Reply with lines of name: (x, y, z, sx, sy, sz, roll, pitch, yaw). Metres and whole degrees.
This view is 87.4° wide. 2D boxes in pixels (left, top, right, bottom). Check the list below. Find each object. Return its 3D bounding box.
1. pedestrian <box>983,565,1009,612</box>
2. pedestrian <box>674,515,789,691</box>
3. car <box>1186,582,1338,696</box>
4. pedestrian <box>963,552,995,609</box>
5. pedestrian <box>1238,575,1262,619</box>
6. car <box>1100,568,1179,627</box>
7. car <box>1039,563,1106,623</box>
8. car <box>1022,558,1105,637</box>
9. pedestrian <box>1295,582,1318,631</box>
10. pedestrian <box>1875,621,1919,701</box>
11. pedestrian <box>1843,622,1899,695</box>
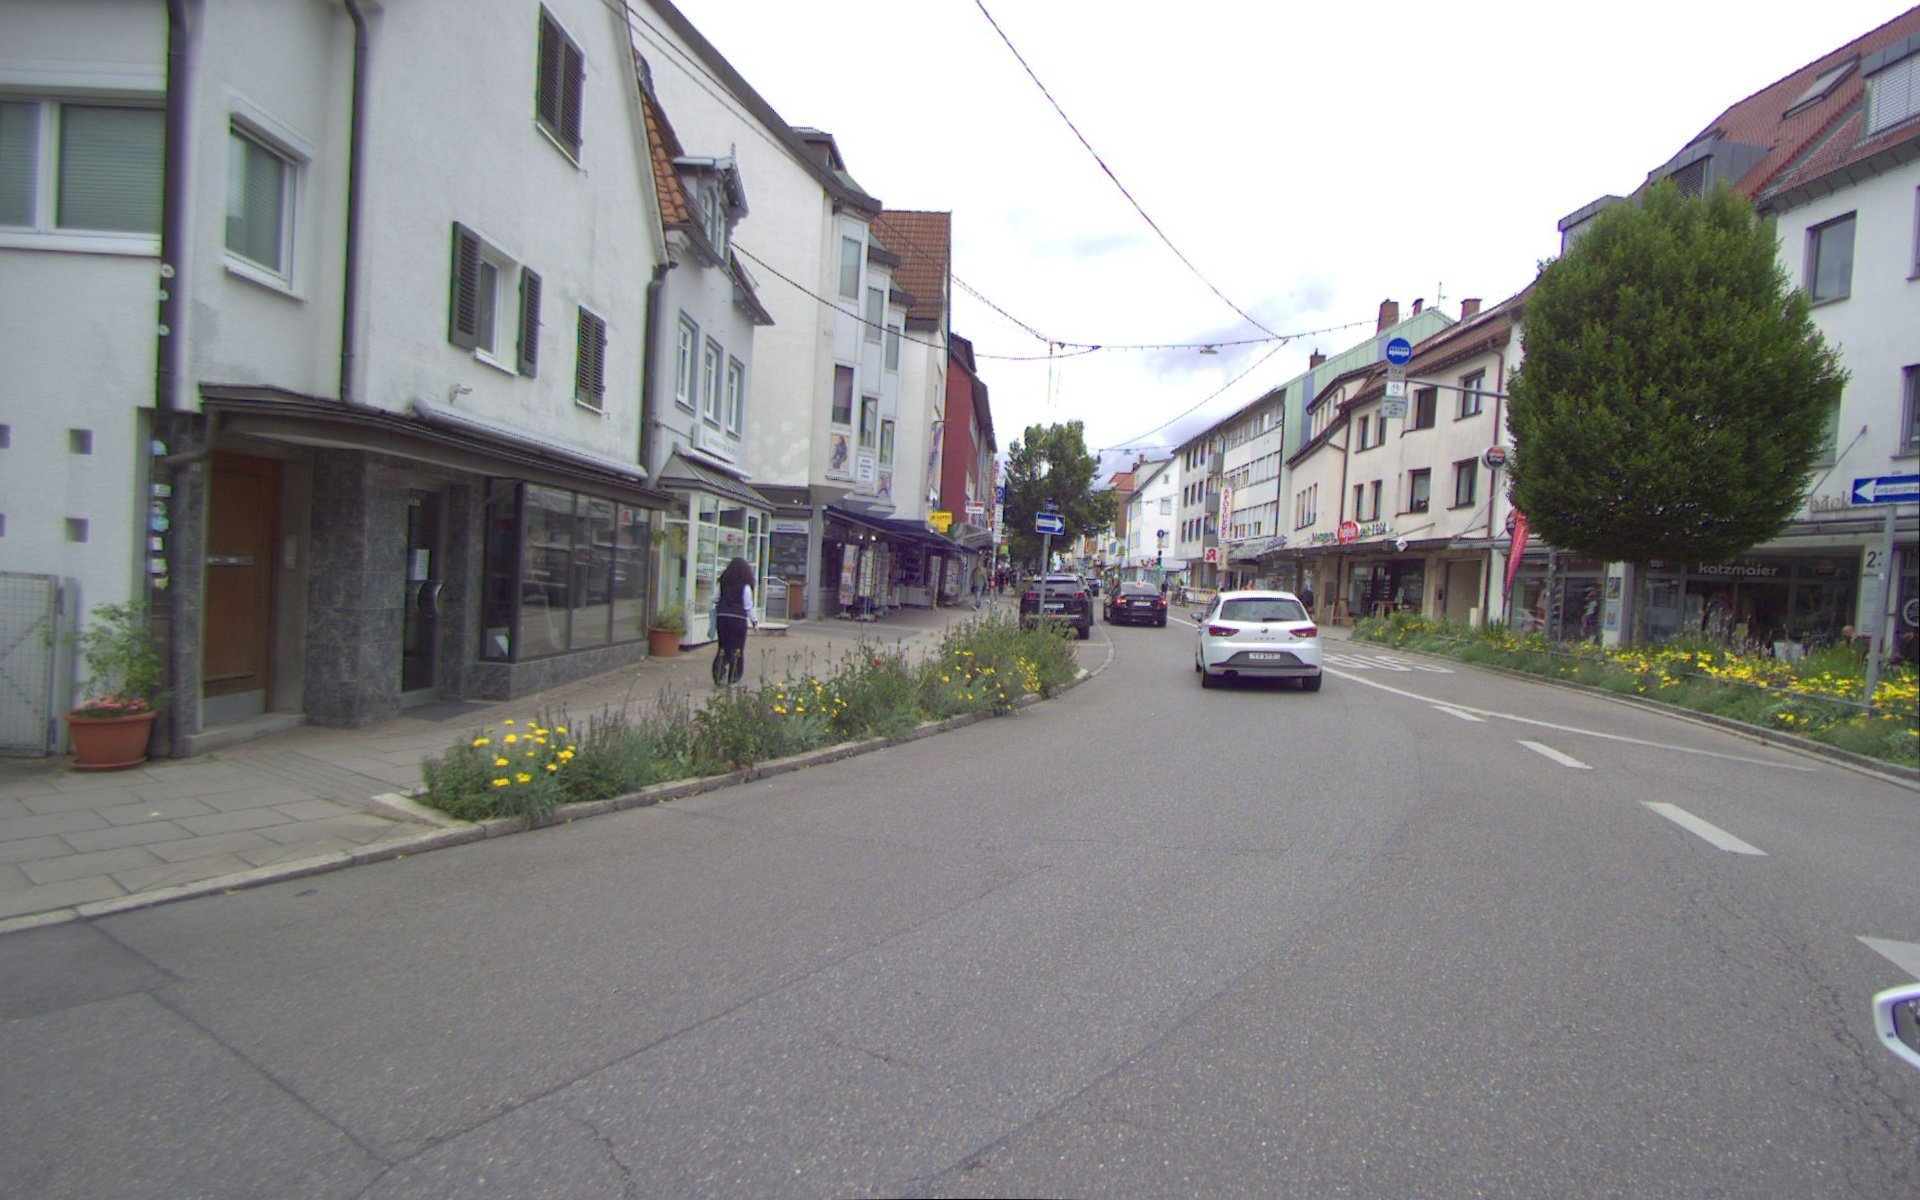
pedestrian: (1.641, -0.536, 45.978, 1.084, 2.041, 1.014, 3, 2, 2)
pedestrian: (-2.802, 0.019, 12.421, 1.084, 2.041, 1.014, 3, 2, 2)
car: (4.694, 0.512, 16.175, 1.812, 1.453, 4.001, 2, 3, 10)
pedestrian: (0.726, -0.745, 37.779, 1.084, 2.041, 1.014, 3, 2, 3)
pedestrian: (13.995, -0.163, 48.481, 1.009, 2.041, 0.896, 3, 2, 16)
car: (5.951, -0.144, 33.727, 2.001, 1.698, 4.374, 3, 3, 3)
car: (3.651, -0.248, 33.060, 1.960, 1.755, 4.429, 3, 1, 5)
car: (2.804, -0.092, 26.938, 1.960, 1.879, 4.002, 3, 1, 7)
pedestrian: (14.610, 0.258, 42.342, 0.657, 2.041, 0.635, 3, 1, 0)
pedestrian: (16.585, 1.071, 17.440, 0.750, 1.335, 0.568, 5, 2, -4)
pedestrian: (16.728, 1.066, 18.454, 0.492, 1.288, 0.491, 2, 2, -4)
